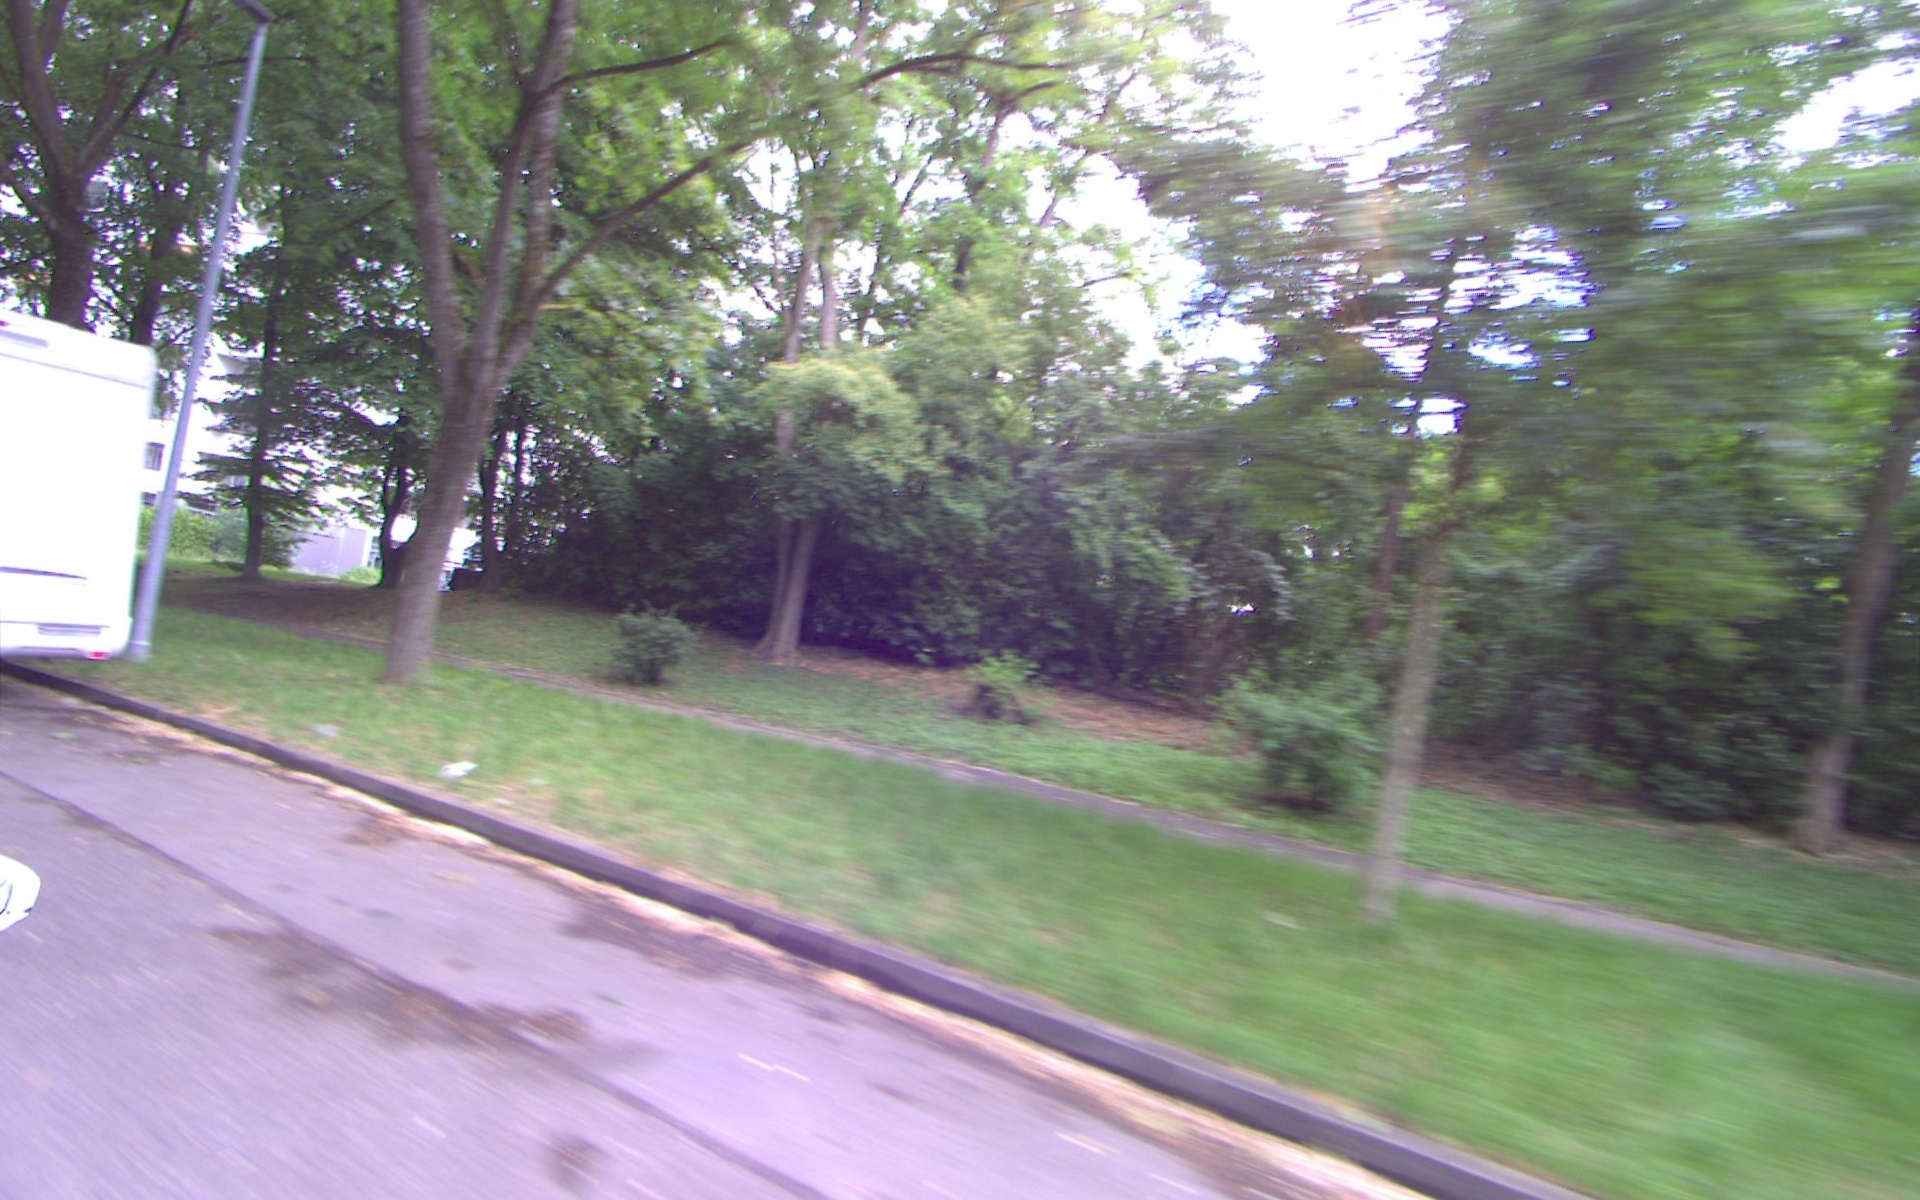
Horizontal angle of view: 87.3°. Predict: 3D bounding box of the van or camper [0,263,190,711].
[{"bbox_3d":[-9.832,-1.122,8.386,7.266,3.013,2.431,6,-2,29],"label":"van or camper"}]
